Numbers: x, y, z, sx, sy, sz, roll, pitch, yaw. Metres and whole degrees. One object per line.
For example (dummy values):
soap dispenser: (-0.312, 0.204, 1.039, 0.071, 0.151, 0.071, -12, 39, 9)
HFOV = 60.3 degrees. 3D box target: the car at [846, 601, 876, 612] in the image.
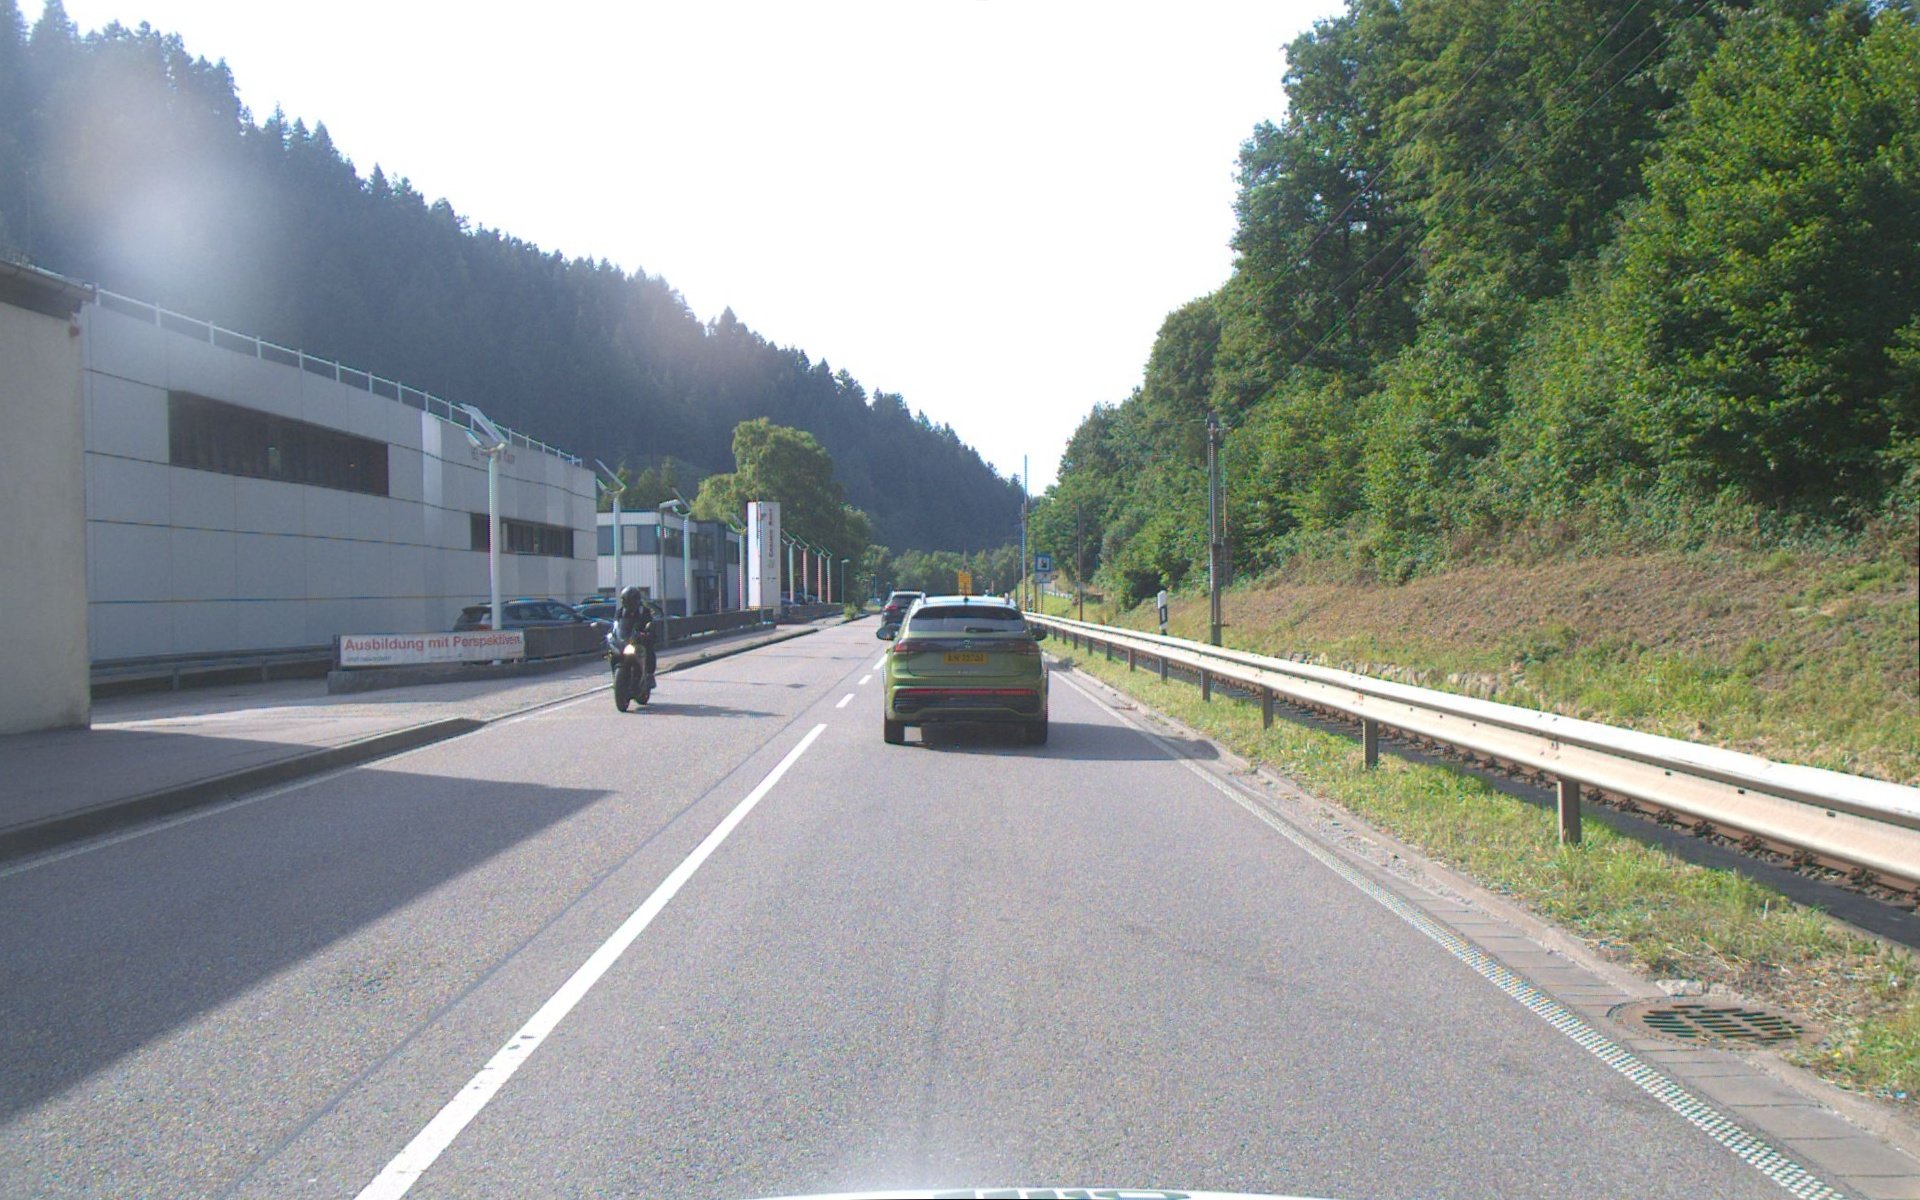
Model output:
car: (-14.191, 0.895, 237.539, 4.172, 1.458, 1.557, -1, 0, 0)

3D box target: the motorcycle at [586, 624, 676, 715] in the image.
motorcycle: (-4.313, 0.887, 21.849, 0.726, 1.087, 2.492, 0, 0, -1)

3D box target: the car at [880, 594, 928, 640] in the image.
car: (-2.031, 0.607, 60.810, 1.704, 1.630, 3.999, 0, 0, -2)

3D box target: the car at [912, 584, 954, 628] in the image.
car: (-1.305, 0.281, 80.726, 1.953, 2.049, 3.999, -1, 0, -1)

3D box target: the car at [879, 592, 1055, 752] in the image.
car: (0.013, 0.691, 18.026, 1.704, 1.534, 3.999, 0, 0, -2)

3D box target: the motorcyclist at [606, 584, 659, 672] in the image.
motorcyclist: (-4.334, 0.366, 21.912, 0.574, 1.144, 0.636, 0, 0, -1)

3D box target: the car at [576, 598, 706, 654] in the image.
car: (-10.599, 0.834, 55.103, 1.749, 1.738, 4.088, -1, 0, 41)

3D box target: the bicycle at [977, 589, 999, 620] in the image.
bicycle: (1.146, 0.174, 68.519, 0.795, 1.272, 2.121, -1, 0, -3)

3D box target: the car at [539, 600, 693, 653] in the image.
car: (-10.573, 0.787, 51.081, 1.854, 1.521, 4.464, -1, 0, 40)

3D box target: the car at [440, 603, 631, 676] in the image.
car: (-10.148, 0.898, 39.758, 1.854, 1.619, 4.152, -1, 0, 40)

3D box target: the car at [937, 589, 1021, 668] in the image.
car: (0.371, 0.590, 36.530, 1.704, 1.630, 3.999, 0, 0, -2)

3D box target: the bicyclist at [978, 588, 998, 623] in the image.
bicyclist: (1.150, 0.208, 68.579, 0.766, 1.436, 0.674, -1, 0, -3)
